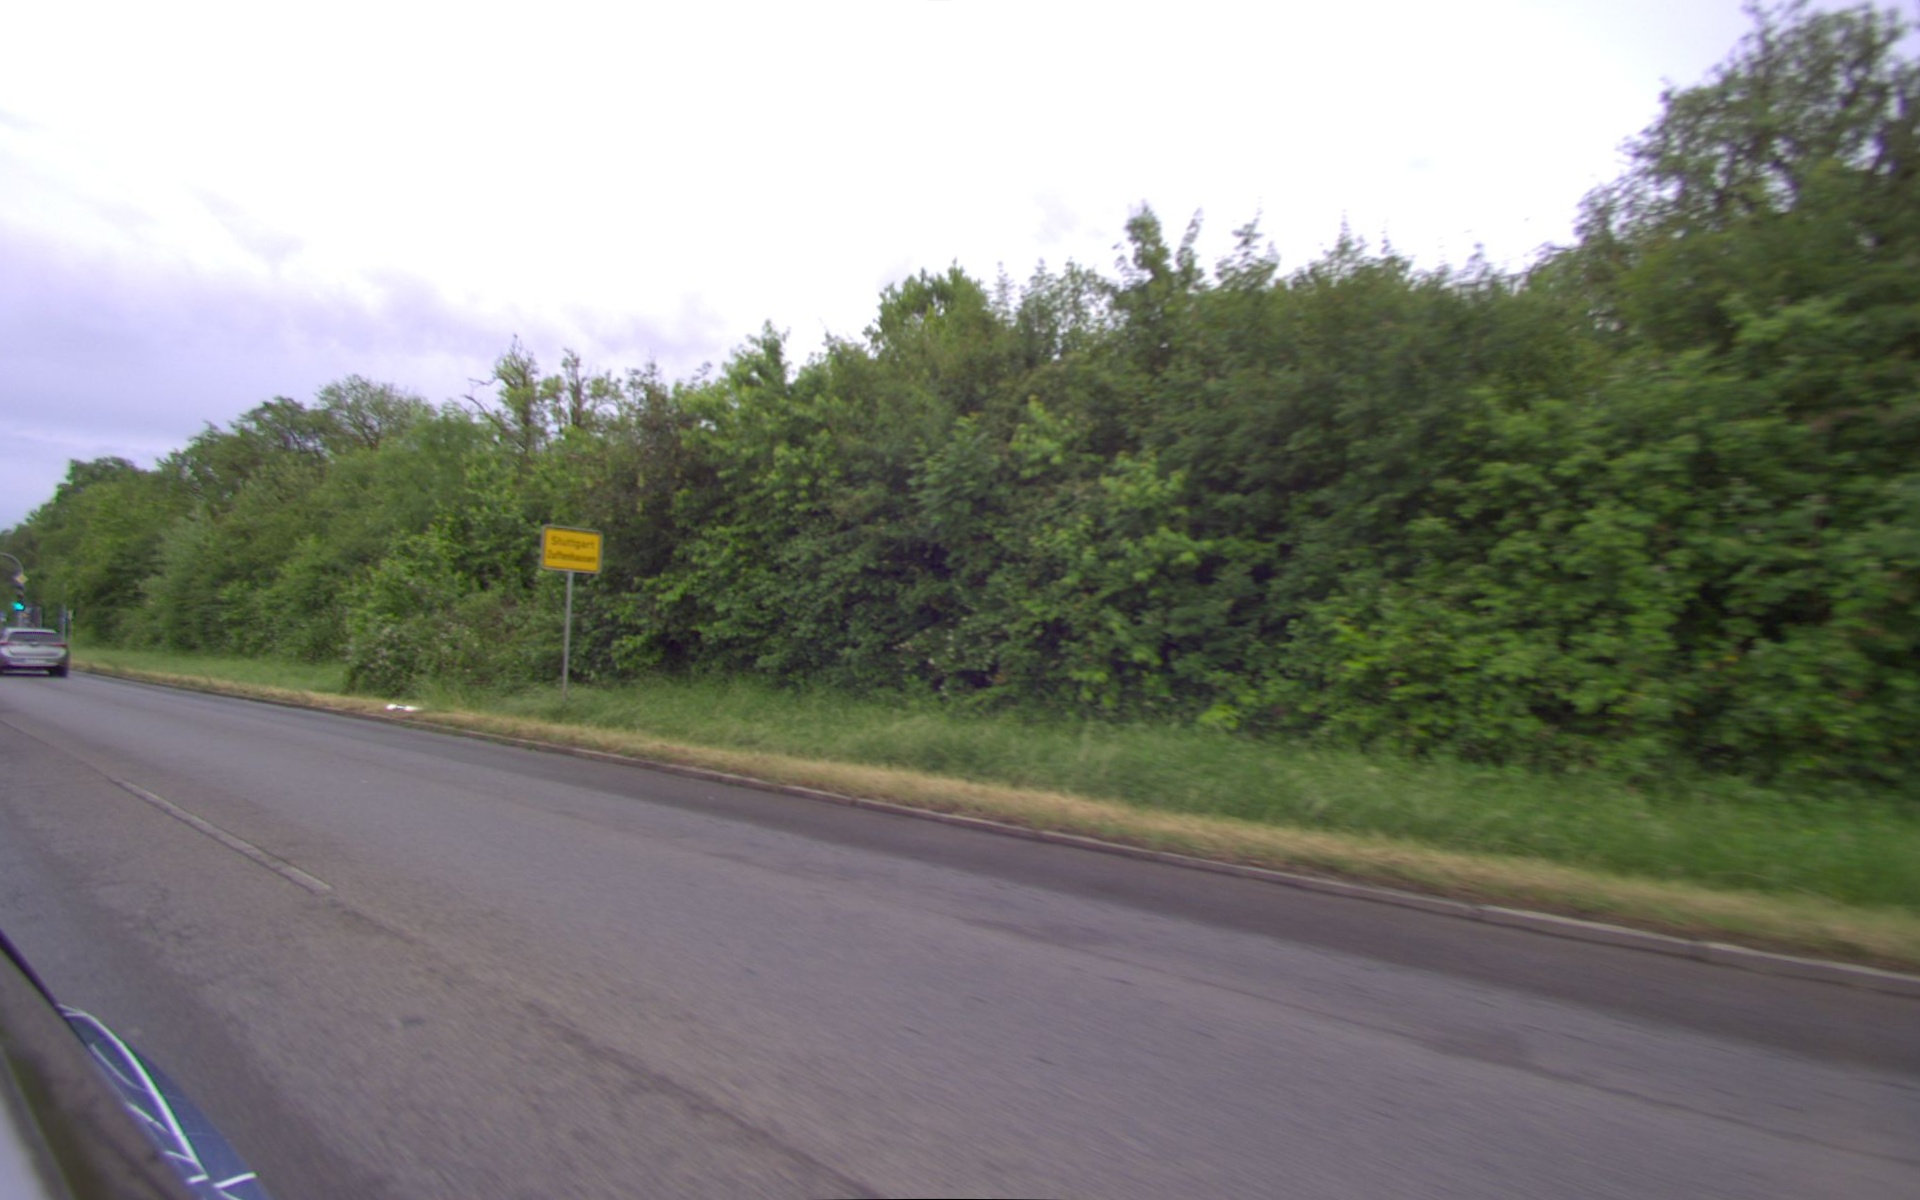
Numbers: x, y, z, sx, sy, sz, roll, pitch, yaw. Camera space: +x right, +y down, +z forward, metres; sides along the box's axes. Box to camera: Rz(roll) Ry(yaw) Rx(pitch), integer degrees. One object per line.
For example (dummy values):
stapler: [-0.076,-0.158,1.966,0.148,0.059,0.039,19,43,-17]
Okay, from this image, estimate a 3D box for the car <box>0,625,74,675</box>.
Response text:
car: [-28.854,1.536,31.185,4.177,1.443,1.783,-2,-4,42]
